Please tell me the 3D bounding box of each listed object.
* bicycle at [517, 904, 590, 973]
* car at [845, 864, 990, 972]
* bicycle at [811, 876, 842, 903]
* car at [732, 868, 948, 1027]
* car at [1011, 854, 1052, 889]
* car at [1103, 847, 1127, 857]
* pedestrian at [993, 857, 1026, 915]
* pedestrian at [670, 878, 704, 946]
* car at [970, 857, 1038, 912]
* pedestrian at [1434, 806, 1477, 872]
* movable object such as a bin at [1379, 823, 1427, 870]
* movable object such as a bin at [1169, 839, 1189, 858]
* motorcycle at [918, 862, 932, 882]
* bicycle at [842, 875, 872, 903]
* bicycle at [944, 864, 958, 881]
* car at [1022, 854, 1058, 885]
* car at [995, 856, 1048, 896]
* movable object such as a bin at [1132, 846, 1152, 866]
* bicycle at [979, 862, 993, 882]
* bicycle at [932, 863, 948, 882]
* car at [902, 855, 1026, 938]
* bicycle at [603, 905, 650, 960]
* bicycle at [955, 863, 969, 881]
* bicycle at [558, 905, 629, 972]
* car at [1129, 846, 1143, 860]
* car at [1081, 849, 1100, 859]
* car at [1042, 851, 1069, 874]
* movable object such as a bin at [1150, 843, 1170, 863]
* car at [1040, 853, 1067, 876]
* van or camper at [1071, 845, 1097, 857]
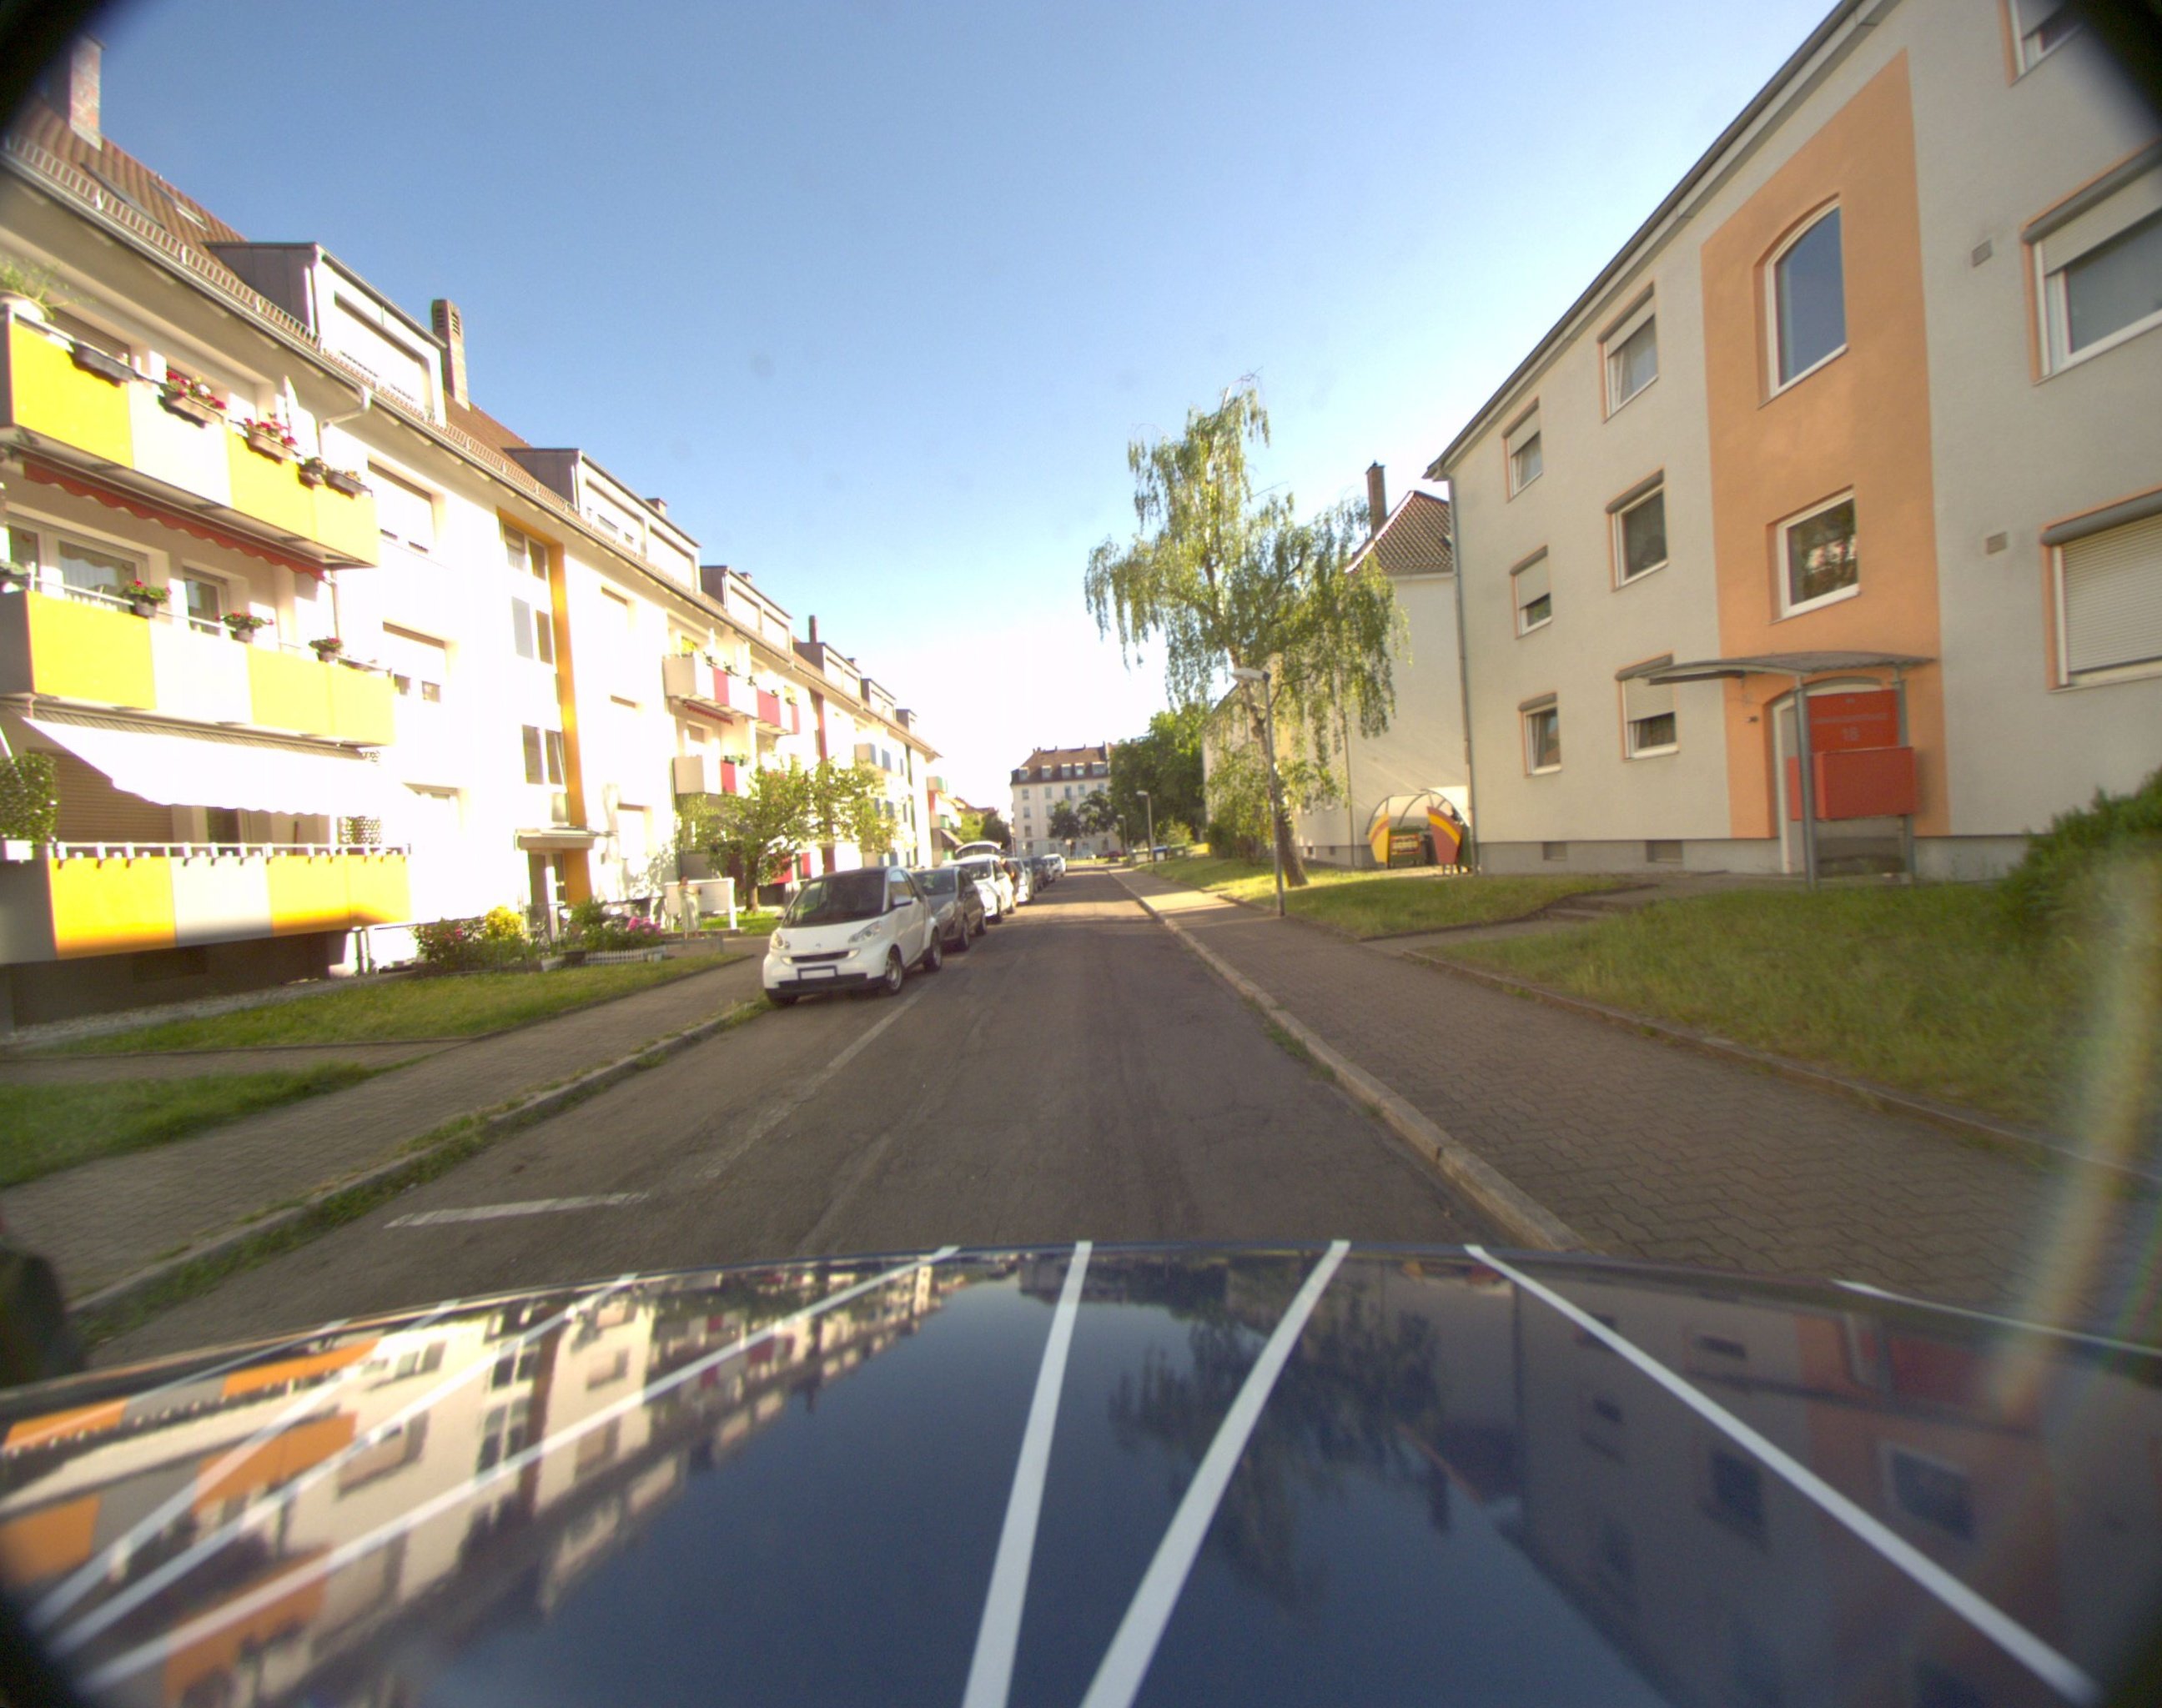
[{"bbox_3d":[-9.923,1.572,14.337,0.404,1.126,1.273,-3,1,1],"label":"bicycle"},{"bbox_3d":[-2.823,1.044,14.005,1.698,1.482,3.984,-6,0,0],"label":"car"},{"bbox_3d":[-10.631,1.464,31.802,0.521,1.031,1.975,-2,1,1],"label":"bicycle"},{"bbox_3d":[-2.888,1.052,9.735,1.483,1.520,2.941,-6,0,5],"label":"car"},{"bbox_3d":[-2.429,0.820,38.196,1.728,1.569,4.352,-3,1,0],"label":"car"},{"bbox_3d":[5.661,-0.334,127.463,3.996,1.477,1.722,-3,1,2],"label":"car"},{"bbox_3d":[-1.997,0.881,21.309,0.741,1.566,0.879,-2,1,0],"label":"pedestrian"},{"bbox_3d":[-9.002,1.322,17.363,0.451,1.487,0.360,-3,3,1],"label":"pedestrian"},{"bbox_3d":[-2.452,0.931,25.328,1.776,1.496,4.479,-5,1,-1],"label":"car"},{"bbox_3d":[10.813,-0.430,21.973,0.808,1.813,0.718,-3,1,1],"label":"pedestrian"},{"bbox_3d":[10.258,-0.239,24.234,1.087,1.398,0.812,-4,1,1],"label":"movable object such as a bin"},{"bbox_3d":[8.017,-0.452,62.215,1.363,1.445,1.073,-8,1,1],"label":"movable object such as a bin"},{"bbox_3d":[-10.122,1.182,49.321,0.442,1.231,1.976,-3,0,1],"label":"motorcycle"},{"bbox_3d":[-9.315,1.429,31.657,0.521,1.043,2.288,-1,1,1],"label":"bicycle"},{"bbox_3d":[-8.396,1.185,49.065,0.539,1.076,1.872,-1,0,0],"label":"bicycle"},{"bbox_3d":[-2.296,0.840,43.499,1.717,1.501,3.853,-7,1,0],"label":"car"},{"bbox_3d":[-2.572,0.931,33.549,1.650,1.441,4.061,-6,1,3],"label":"car"},{"bbox_3d":[4.986,0.178,62.164,1.318,1.451,1.198,-7,1,1],"label":"movable object such as a bin"},{"bbox_3d":[-6.020,1.128,48.287,0.546,1.163,1.873,-2,1,2],"label":"bicycle"},{"bbox_3d":[-9.123,1.190,49.132,0.598,1.109,1.872,-3,0,0],"label":"bicycle"},{"bbox_3d":[-2.775,0.947,19.329,1.998,1.603,4.995,-5,0,3],"label":"car"},{"bbox_3d":[-8.985,1.546,15.016,0.742,1.041,0.238,-2,1,3],"label":"bicycle"},{"bbox_3d":[-7.678,1.153,49.085,0.545,1.114,1.872,-2,0,0],"label":"bicycle"},{"bbox_3d":[-9.024,1.535,14.107,0.404,1.080,1.299,-2,1,1],"label":"bicycle"},{"bbox_3d":[6.920,-0.199,95.190,1.678,1.645,3.305,-3,1,5],"label":"car"},{"bbox_3d":[1.619,-0.043,132.525,3.192,1.499,1.545,-3,1,0],"label":"car"},{"bbox_3d":[-2.004,0.674,60.877,1.805,1.583,4.581,-5,1,0],"label":"car"},{"bbox_3d":[6.461,-0.065,62.213,1.358,1.451,1.082,-8,1,1],"label":"movable object such as a bin"},{"bbox_3d":[-2.001,0.733,55.564,1.695,1.410,4.097,-6,1,0],"label":"car"},{"bbox_3d":[0.485,-0.477,127.841,4.355,1.852,1.999,-3,1,-1],"label":"van or camper"}]
